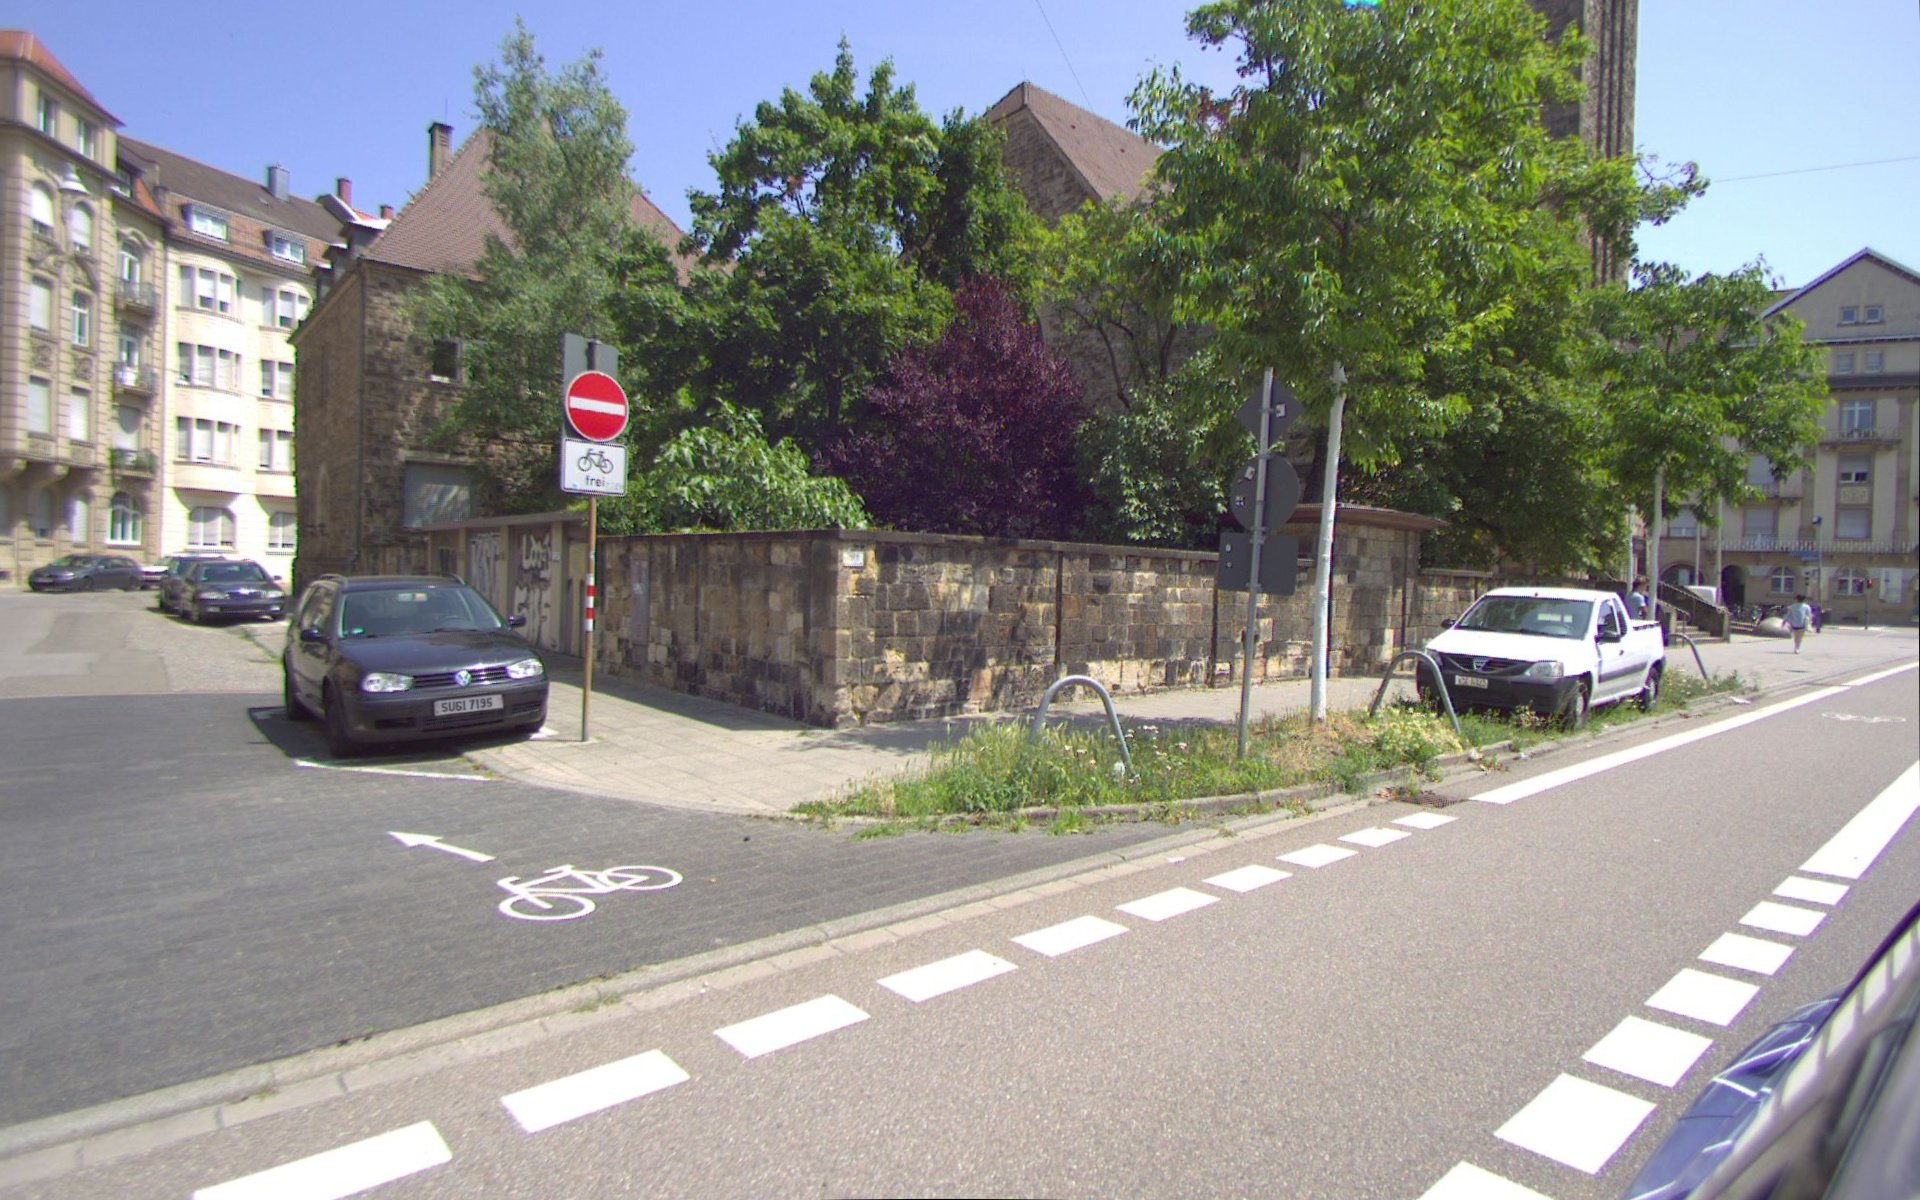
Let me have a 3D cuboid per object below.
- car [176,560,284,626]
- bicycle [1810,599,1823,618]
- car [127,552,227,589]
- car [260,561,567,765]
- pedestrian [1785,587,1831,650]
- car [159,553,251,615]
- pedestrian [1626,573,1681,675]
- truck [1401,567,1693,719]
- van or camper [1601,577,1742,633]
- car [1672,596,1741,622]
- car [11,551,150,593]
[{"bbox_3d":[-17.680,-0.234,24.441,1.751,1.390,3.995,-4,4,-40],"label":"car"},{"bbox_3d":[54.698,0.536,64.659,0.562,1.165,1.780,1,2,38],"label":"bicycle"},{"bbox_3d":[-33.976,-1.260,44.045,1.587,1.497,4.006,1,1,-7],"label":"car"},{"bbox_3d":[-5.430,0.416,9.777,1.645,1.510,4.187,0,2,-42],"label":"car"},{"bbox_3d":[23.189,0.490,27.676,0.949,1.671,0.795,1,0,-39],"label":"pedestrian"},{"bbox_3d":[-21.099,-0.497,28.237,1.751,1.575,3.649,-4,4,-40],"label":"car"},{"bbox_3d":[12.310,0.411,17.963,0.666,1.777,0.622,1,0,-39],"label":"pedestrian"},{"bbox_3d":[7.366,0.419,12.515,4.387,1.545,1.793,0,1,-41],"label":"truck"},{"bbox_3d":[26.847,0.152,38.254,1.772,1.847,3.995,1,3,-42],"label":"van or camper"},{"bbox_3d":[48.045,0.566,65.194,1.583,1.497,3.235,-1,3,-15],"label":"car"},{"bbox_3d":[-33.613,-1.059,38.841,1.959,1.490,4.334,1,1,-7],"label":"car"}]
